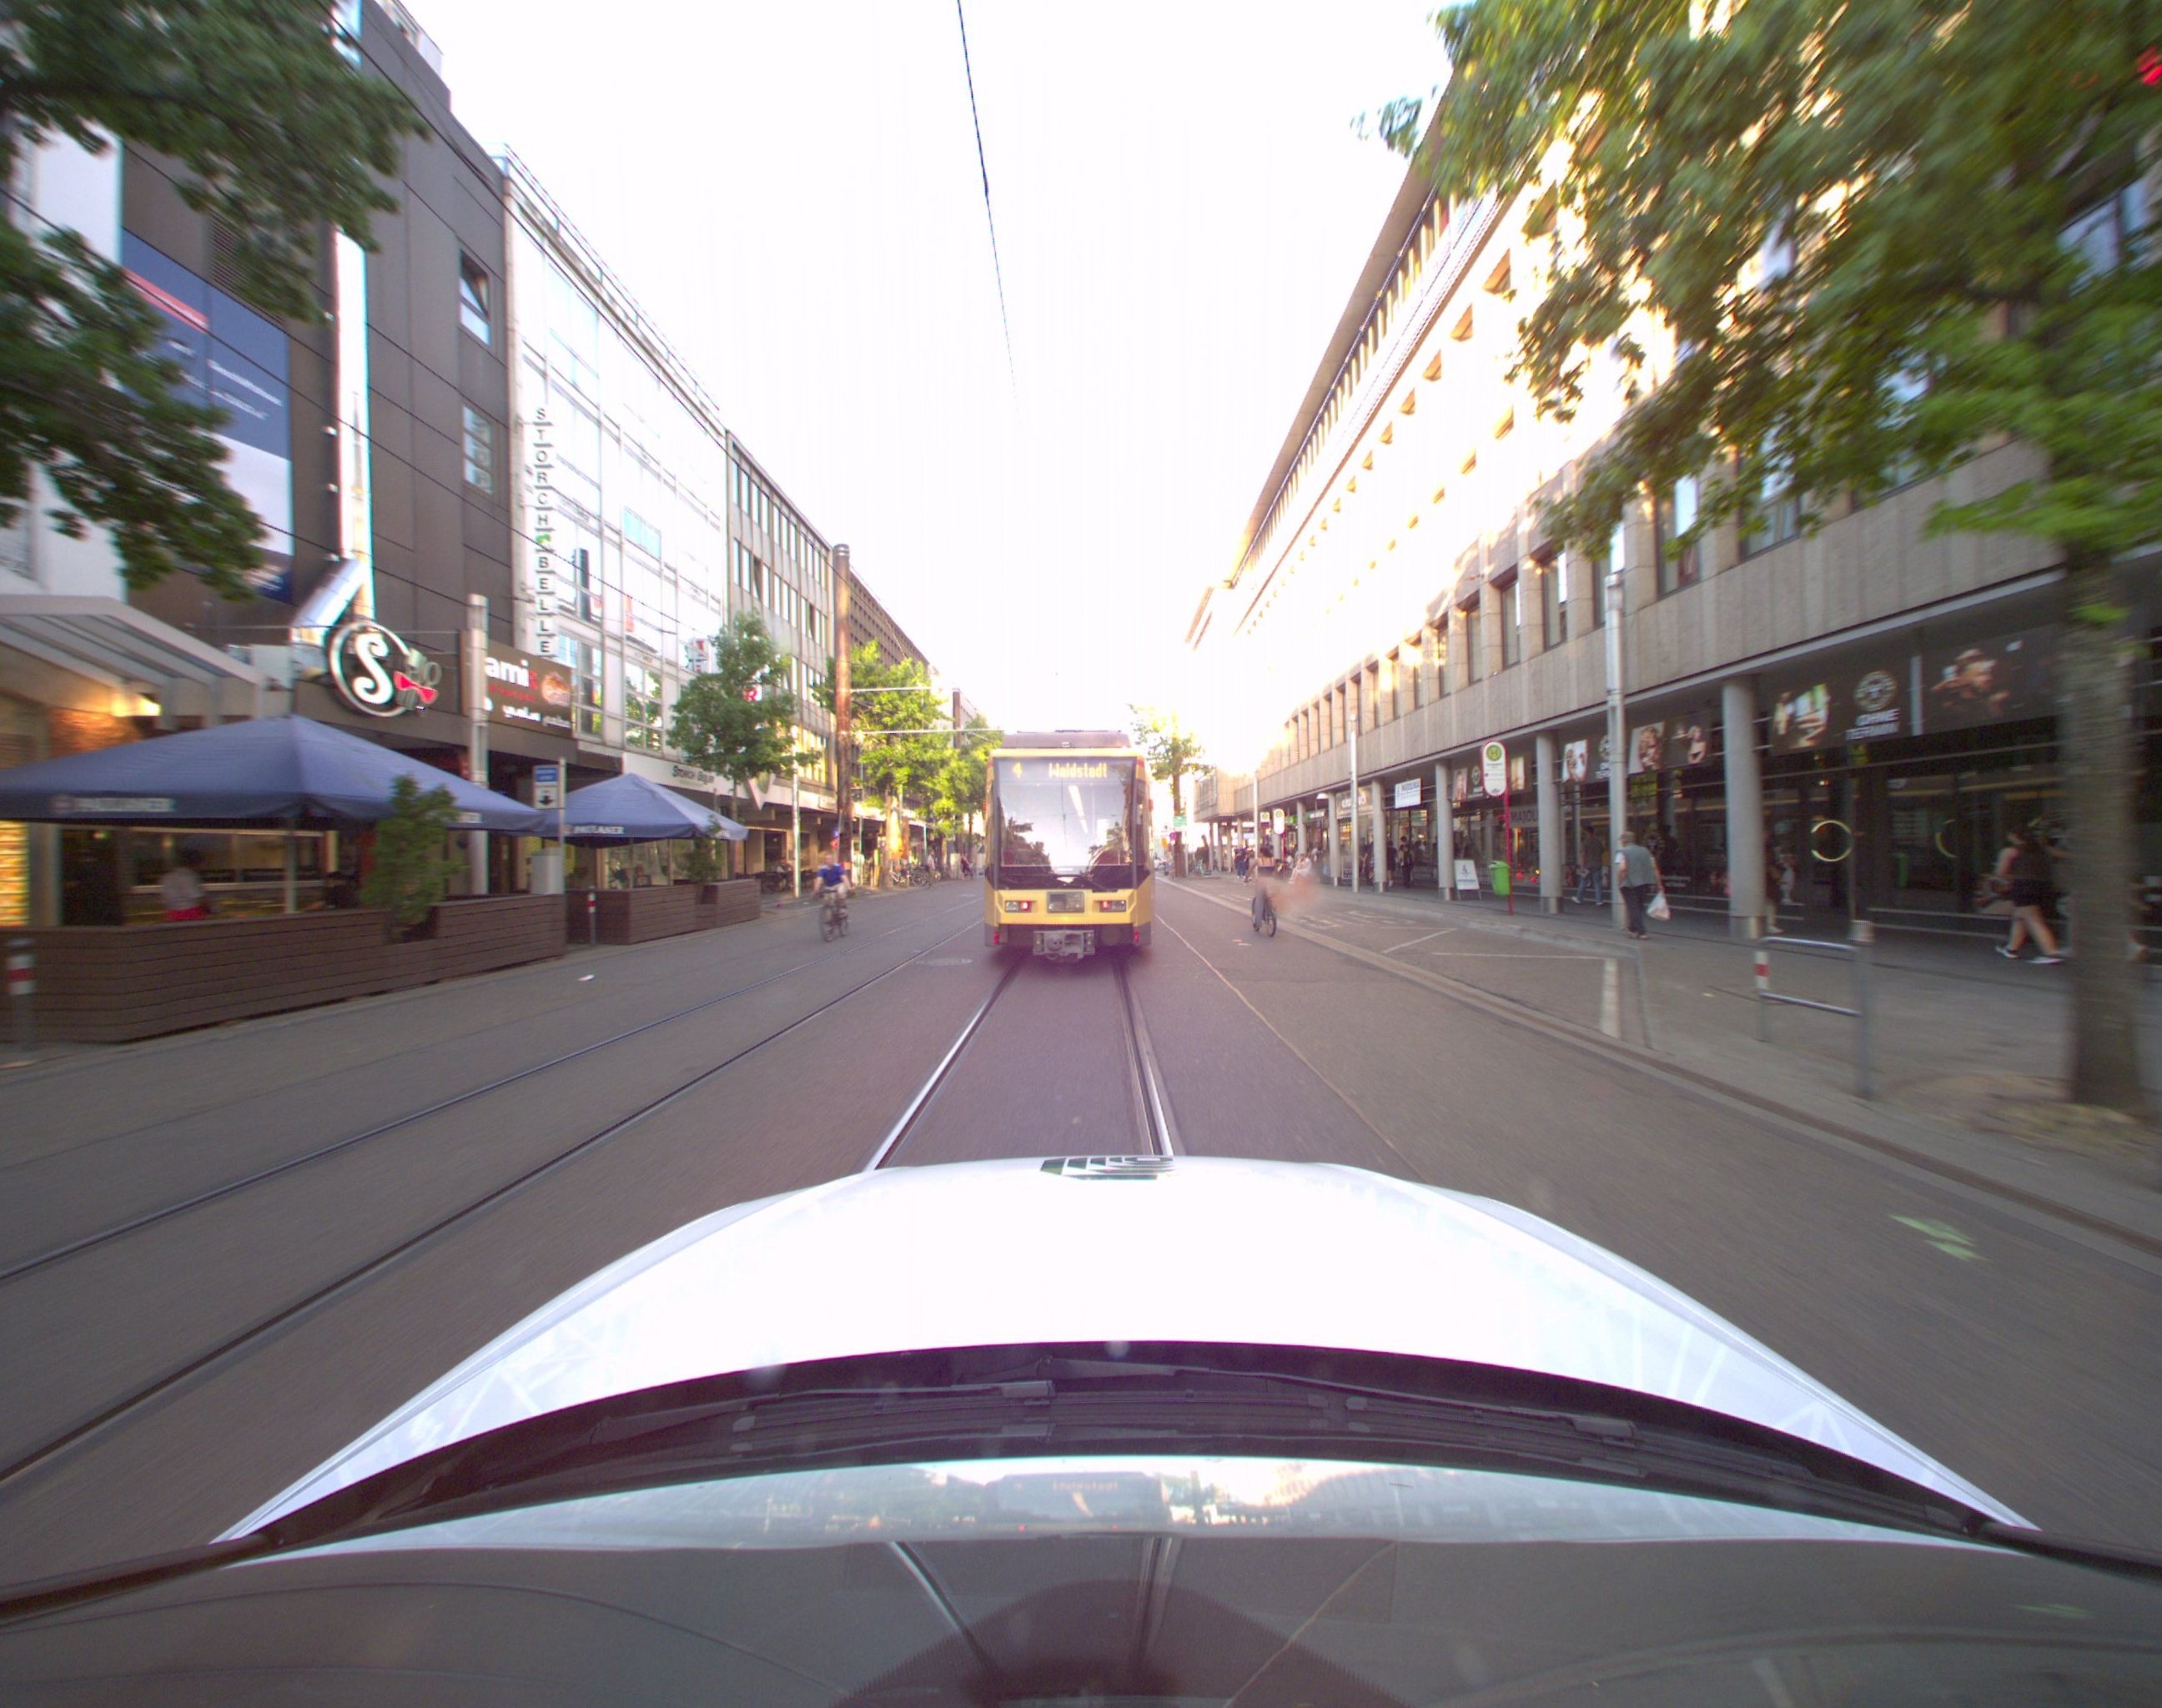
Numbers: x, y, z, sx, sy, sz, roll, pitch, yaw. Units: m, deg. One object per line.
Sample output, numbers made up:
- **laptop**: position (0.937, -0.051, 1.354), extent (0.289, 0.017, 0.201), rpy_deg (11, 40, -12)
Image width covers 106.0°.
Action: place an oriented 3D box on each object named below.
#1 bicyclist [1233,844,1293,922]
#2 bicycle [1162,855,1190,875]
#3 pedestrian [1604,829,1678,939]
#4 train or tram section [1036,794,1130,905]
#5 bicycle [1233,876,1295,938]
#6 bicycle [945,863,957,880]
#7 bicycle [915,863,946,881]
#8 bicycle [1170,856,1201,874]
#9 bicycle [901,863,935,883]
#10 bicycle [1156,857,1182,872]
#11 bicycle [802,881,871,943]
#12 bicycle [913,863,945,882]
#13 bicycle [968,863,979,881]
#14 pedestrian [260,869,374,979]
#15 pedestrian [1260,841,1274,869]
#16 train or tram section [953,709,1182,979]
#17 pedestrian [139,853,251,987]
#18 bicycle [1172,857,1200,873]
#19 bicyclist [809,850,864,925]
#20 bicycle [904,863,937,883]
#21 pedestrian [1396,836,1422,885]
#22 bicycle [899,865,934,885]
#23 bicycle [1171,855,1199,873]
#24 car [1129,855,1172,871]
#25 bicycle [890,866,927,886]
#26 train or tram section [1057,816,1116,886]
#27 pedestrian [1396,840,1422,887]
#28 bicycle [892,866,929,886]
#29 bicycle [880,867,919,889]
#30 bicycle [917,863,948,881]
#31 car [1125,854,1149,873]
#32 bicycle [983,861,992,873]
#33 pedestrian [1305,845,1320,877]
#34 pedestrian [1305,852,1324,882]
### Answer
- **bicyclist**: position (3.566, 0.554, 16.032), extent (0.993, 1.502, 0.857), rpy_deg (0, 0, 1)
- **bicycle**: position (6.857, 0.769, 58.857), extent (1.911, 1.333, 0.724), rpy_deg (-3, 0, -4)
- **pedestrian**: position (8.302, 0.430, 12.097), extent (0.666, 1.588, 0.638), rpy_deg (0, -1, 0)
- **train or tram section**: position (0.156, -0.145, 31.931), extent (2.791, 3.319, 14.509), rpy_deg (-1, 0, 1)
- **bicycle**: position (3.565, 1.003, 16.044), extent (0.812, 1.073, 2.114), rpy_deg (0, 0, 2)
- **bicycle**: position (-8.192, 1.096, 51.357), extent (0.486, 1.045, 1.776), rpy_deg (0, 0, -2)
- **bicycle**: position (-8.931, 1.062, 48.273), extent (1.769, 1.071, 0.489), rpy_deg (1, 0, -5)
- **bicycle**: position (7.436, 0.812, 58.055), extent (1.992, 1.155, 0.724), rpy_deg (-3, 0, -4)
- **bicycle**: position (-8.915, 1.033, 44.688), extent (1.769, 1.071, 0.489), rpy_deg (1, 0, -5)
- **bicycle**: position (6.806, 0.812, 63.045), extent (1.847, 1.109, 0.666), rpy_deg (-3, 0, -2)
- **bicycle**: position (-4.726, 1.089, 15.864), extent (0.727, 1.073, 1.866), rpy_deg (0, 0, 2)
- **bicycle**: position (-8.888, 1.058, 47.727), extent (1.769, 1.071, 0.489), rpy_deg (1, 0, -5)
- **bicycle**: position (-6.822, 1.120, 51.534), extent (0.486, 1.045, 1.776), rpy_deg (0, 0, -2)
- **pedestrian**: position (-10.278, 0.919, 10.983), extent (0.761, 1.401, 0.746), rpy_deg (2, -1, 0)
- **pedestrian**: position (11.099, 0.066, 48.497), extent (0.645, 1.661, 0.650), rpy_deg (-2, 0, 1)
- **train or tram section**: position (-0.060, -0.130, 17.413), extent (2.791, 3.319, 14.509), rpy_deg (-1, 0, 1)
- **pedestrian**: position (-10.680, 0.777, 9.839), extent (0.654, 1.552, 0.565), rpy_deg (2, -1, -1)
- **bicycle**: position (7.840, 0.825, 60.963), extent (1.911, 1.078, 0.762), rpy_deg (-3, 0, -4)
- **bicyclist**: position (-4.726, 0.630, 15.801), extent (0.756, 1.414, 0.898), rpy_deg (0, 0, 1)
- **bicycle**: position (-8.923, 1.038, 45.266), extent (1.769, 1.071, 0.489), rpy_deg (1, 0, -5)
- **pedestrian**: position (12.568, 0.260, 31.196), extent (0.689, 1.853, 0.681), rpy_deg (-1, 0, 2)
- **bicycle**: position (-8.646, 1.113, 42.912), extent (1.769, 0.990, 0.489), rpy_deg (0, 1, -5)
- **bicycle**: position (7.856, 0.741, 61.711), extent (1.911, 1.222, 0.762), rpy_deg (-3, 0, -4)
- **car**: position (6.241, 0.793, 72.878), extent (1.753, 1.409, 3.924), rpy_deg (-2, -2, 44)
- **bicycle**: position (-8.685, 1.097, 40.971), extent (1.769, 0.990, 0.489), rpy_deg (0, 1, -5)
- **train or tram section**: position (0.364, -0.153, 46.397), extent (2.791, 3.319, 14.509), rpy_deg (-1, 0, 1)
- **pedestrian**: position (11.884, 0.342, 29.496), extent (0.645, 1.661, 0.681), rpy_deg (-1, 0, 2)
- **bicycle**: position (-8.682, 1.101, 41.500), extent (1.769, 0.990, 0.489), rpy_deg (0, 1, -5)
- **bicycle**: position (-8.583, 1.118, 38.439), extent (1.758, 0.966, 0.491), rpy_deg (1, -1, 17)
- **bicycle**: position (-8.908, 1.067, 48.925), extent (1.769, 1.071, 0.489), rpy_deg (1, 0, -5)
- **car**: position (4.452, 0.784, 64.806), extent (1.763, 1.409, 4.053), rpy_deg (-1, -1, 2)
- **bicycle**: position (-9.345, 1.267, 81.765), extent (0.496, 1.107, 1.803), rpy_deg (-1, 1, 6)
- **pedestrian**: position (12.598, 0.395, 44.357), extent (0.568, 1.731, 0.617), rpy_deg (-2, -1, 0)
- **pedestrian**: position (10.318, 0.573, 35.969), extent (0.715, 1.314, 0.532), rpy_deg (0, -1, 2)
